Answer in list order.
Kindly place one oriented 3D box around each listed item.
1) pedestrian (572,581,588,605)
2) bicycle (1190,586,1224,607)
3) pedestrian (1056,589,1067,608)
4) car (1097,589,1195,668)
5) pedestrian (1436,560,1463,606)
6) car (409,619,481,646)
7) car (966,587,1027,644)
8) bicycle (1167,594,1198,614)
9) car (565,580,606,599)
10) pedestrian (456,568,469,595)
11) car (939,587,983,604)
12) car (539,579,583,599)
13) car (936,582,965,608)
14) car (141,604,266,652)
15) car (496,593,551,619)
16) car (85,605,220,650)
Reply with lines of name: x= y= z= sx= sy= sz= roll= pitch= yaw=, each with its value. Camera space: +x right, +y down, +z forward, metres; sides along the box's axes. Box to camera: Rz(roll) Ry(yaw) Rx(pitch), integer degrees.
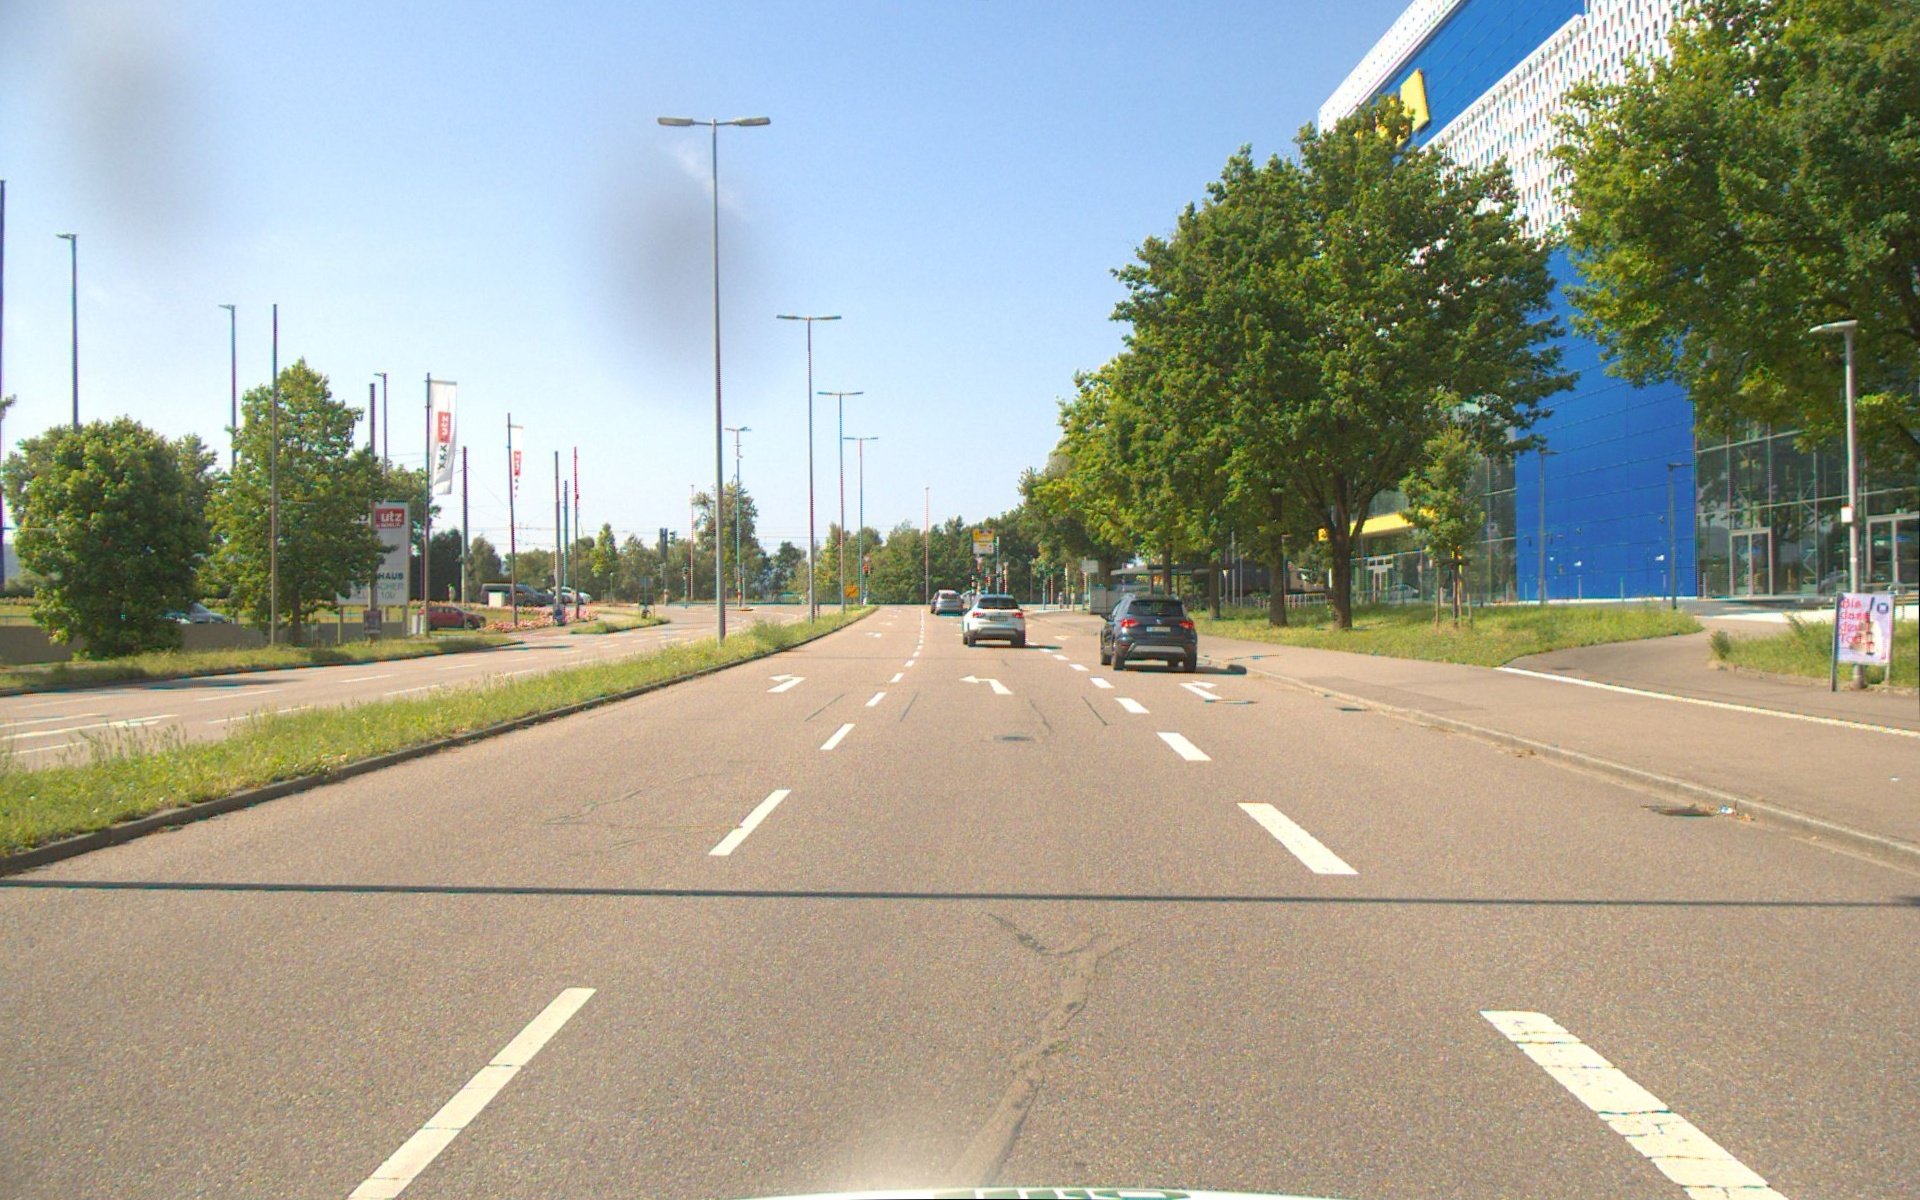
pedestrian: x=-28.197 y=-0.501 z=122.644 sx=0.822 sy=1.736 sz=0.906 roll=-1 pitch=0 yaw=10
bicycle: x=13.311 y=-0.184 z=89.116 sx=1.723 sy=1.115 sz=0.452 roll=-1 pitch=0 yaw=-2
pedestrian: x=8.203 y=-0.131 z=134.218 sx=0.756 sy=1.537 sz=1.008 roll=-1 pitch=1 yaw=9
car: x=3.828 y=0.550 z=34.491 sx=1.636 sy=1.550 sz=3.376 roll=0 pitch=0 yaw=-1
pedestrian: x=18.103 y=-0.628 z=61.178 sx=0.674 sy=1.640 sz=0.770 roll=-2 pitch=0 yaw=-5
car: x=-33.092 y=2.077 z=106.292 sx=4.103 sy=1.634 sz=1.824 roll=-1 pitch=-1 yaw=-6
car: x=1.063 y=0.428 z=49.725 sx=1.598 sy=1.524 sz=3.869 roll=0 pitch=2 yaw=-3
bicycle: x=12.822 y=0.231 z=95.400 sx=1.723 sy=1.115 sz=0.452 roll=-1 pitch=0 yaw=-2
car: x=-32.054 y=-0.887 z=141.647 sx=3.278 sy=1.526 sz=1.408 roll=-1 pitch=-1 yaw=-6
pedestrian: x=-37.429 y=-1.362 z=124.406 sx=0.701 sy=2.006 sz=0.918 roll=-1 pitch=-1 yaw=3
car: x=0.063 y=-0.456 z=161.069 sx=4.003 sy=1.574 sz=1.794 roll=0 pitch=0 yaw=-13
car: x=-33.185 y=-0.912 z=137.622 sx=3.319 sy=1.526 sz=1.408 roll=-1 pitch=-1 yaw=-4
car: x=-0.634 y=-0.357 z=107.875 sx=1.672 sy=1.600 sz=4.172 roll=-2 pitch=1 yaw=-3
car: x=-31.681 y=1.165 z=69.355 sx=4.324 sy=1.875 sz=1.944 roll=-1 pitch=-1 yaw=-2
car: x=-34.433 y=0.438 z=130.521 sx=3.904 sy=1.958 sz=1.817 roll=1 pitch=1 yaw=20
car: x=-31.430 y=1.084 z=64.486 sx=4.325 sy=1.656 sz=1.870 roll=-1 pitch=-2 yaw=-4
